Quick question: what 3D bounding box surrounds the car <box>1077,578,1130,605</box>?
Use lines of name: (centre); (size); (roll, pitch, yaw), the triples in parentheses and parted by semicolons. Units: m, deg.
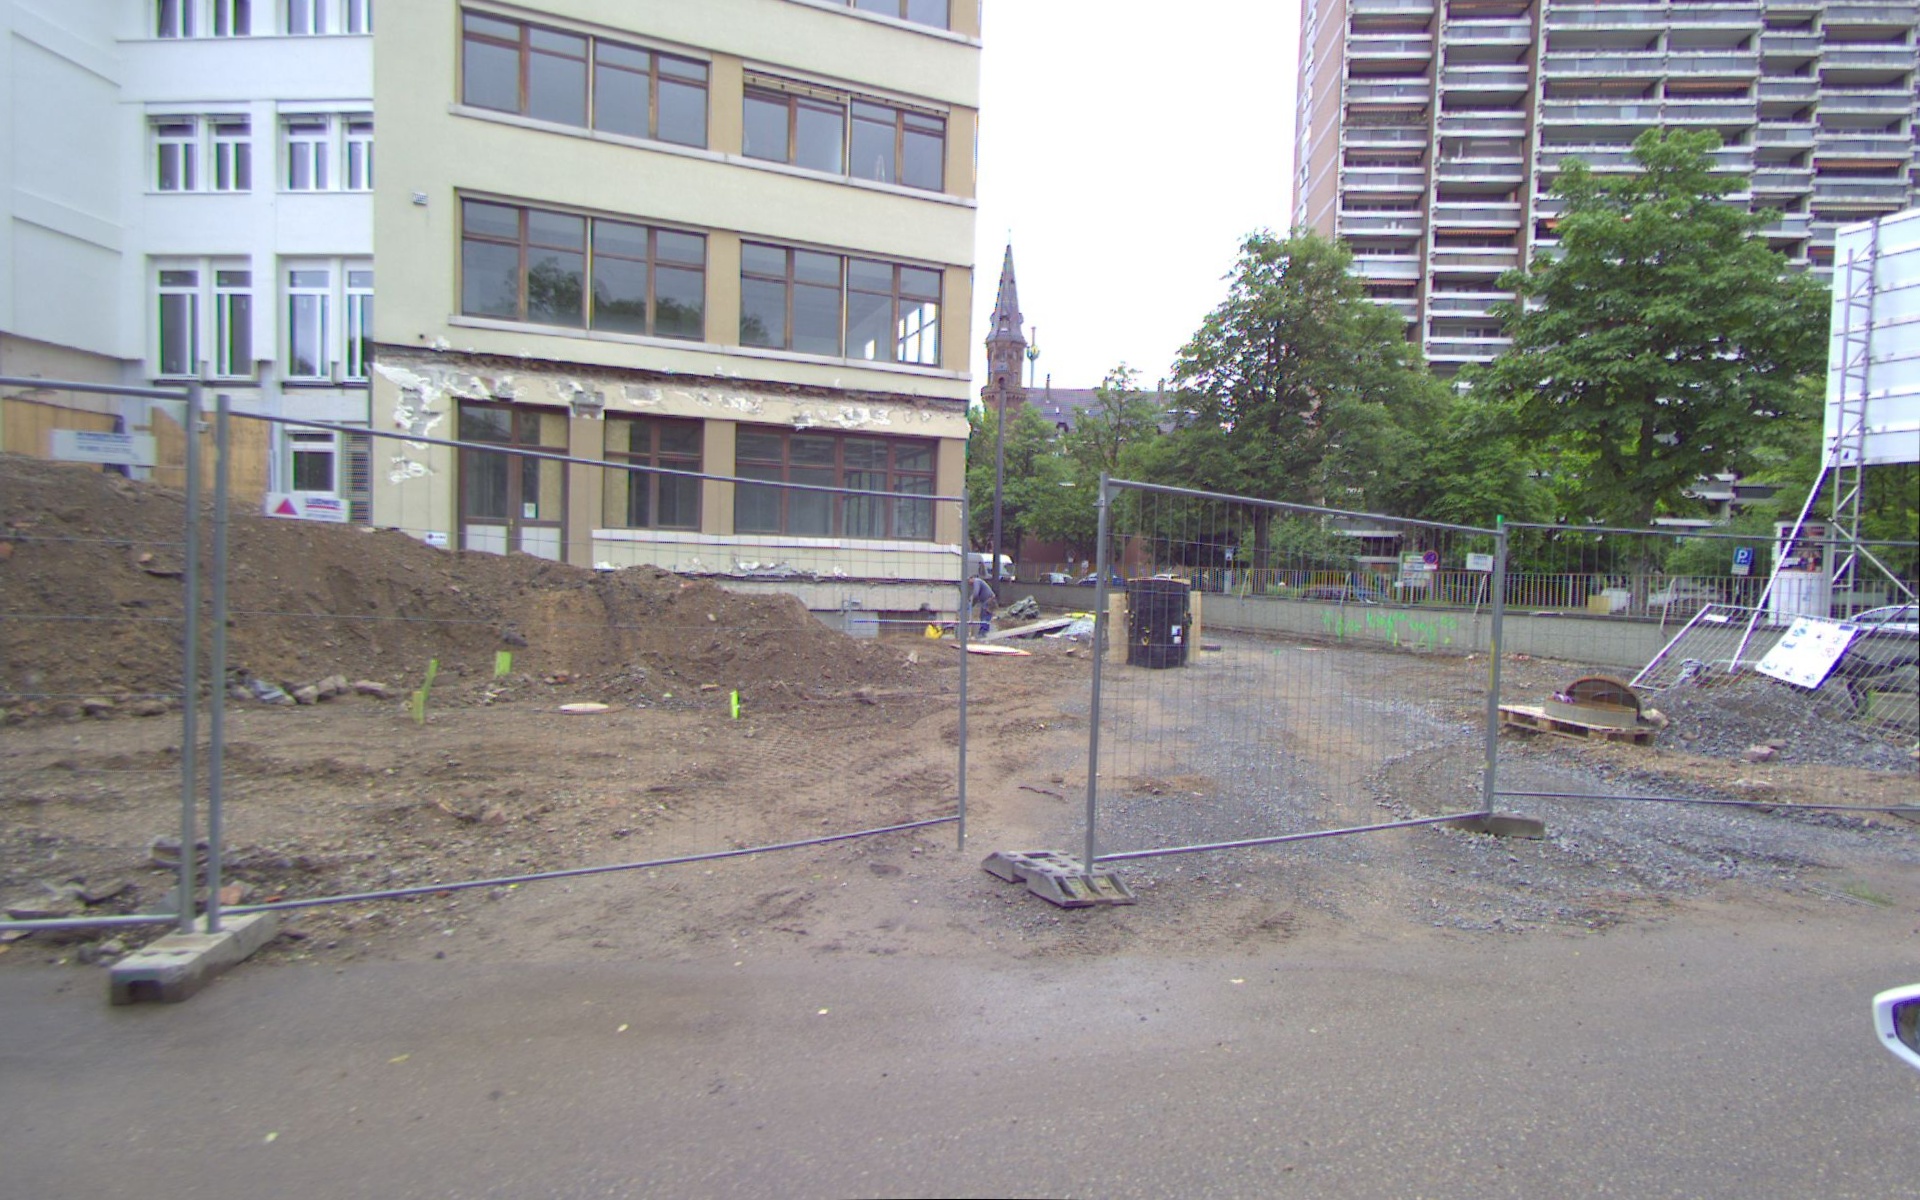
car: (9.035, -0.548, 63.546); (1.579, 1.539, 3.979); (1, 2, -21)

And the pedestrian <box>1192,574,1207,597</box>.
pedestrian: (16.499, -0.991, 69.116); (0.835, 1.548, 0.517); (1, 2, -34)

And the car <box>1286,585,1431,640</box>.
car: (11.877, 0.346, 30.210); (1.806, 1.437, 3.979); (1, 1, -22)

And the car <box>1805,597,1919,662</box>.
car: (24.524, 0.769, 25.795); (1.705, 1.539, 3.980); (1, 2, -21)

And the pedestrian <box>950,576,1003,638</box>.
pedestrian: (0.402, 0.167, 24.885); (0.970, 1.457, 0.925); (1, 1, -25)
